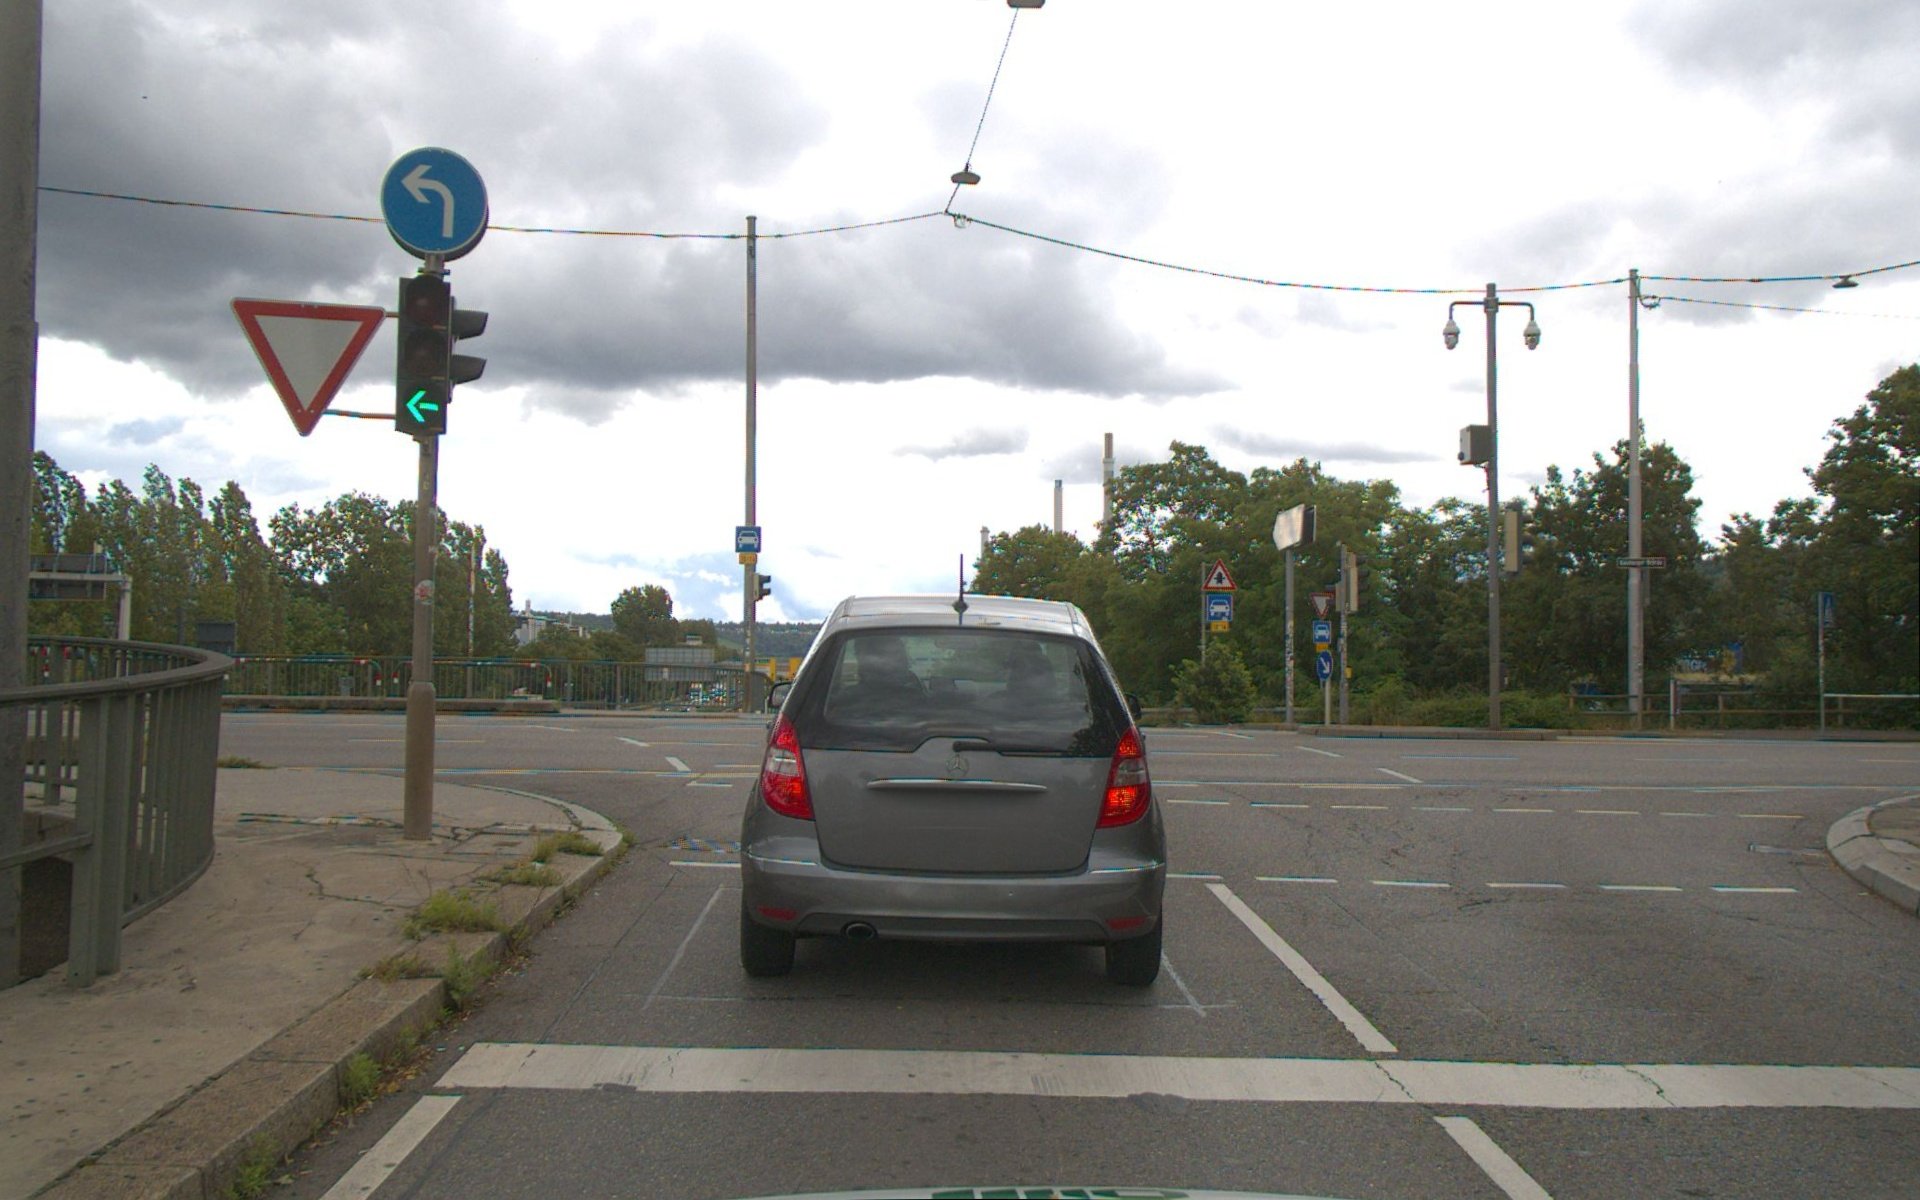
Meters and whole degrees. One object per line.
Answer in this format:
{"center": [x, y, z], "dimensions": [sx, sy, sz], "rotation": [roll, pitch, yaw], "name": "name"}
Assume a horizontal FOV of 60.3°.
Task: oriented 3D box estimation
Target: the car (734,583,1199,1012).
{"center": [0.007, 0.745, 7.888], "dimensions": [1.704, 1.570, 3.540], "rotation": [1, 0, -1], "name": "car"}
